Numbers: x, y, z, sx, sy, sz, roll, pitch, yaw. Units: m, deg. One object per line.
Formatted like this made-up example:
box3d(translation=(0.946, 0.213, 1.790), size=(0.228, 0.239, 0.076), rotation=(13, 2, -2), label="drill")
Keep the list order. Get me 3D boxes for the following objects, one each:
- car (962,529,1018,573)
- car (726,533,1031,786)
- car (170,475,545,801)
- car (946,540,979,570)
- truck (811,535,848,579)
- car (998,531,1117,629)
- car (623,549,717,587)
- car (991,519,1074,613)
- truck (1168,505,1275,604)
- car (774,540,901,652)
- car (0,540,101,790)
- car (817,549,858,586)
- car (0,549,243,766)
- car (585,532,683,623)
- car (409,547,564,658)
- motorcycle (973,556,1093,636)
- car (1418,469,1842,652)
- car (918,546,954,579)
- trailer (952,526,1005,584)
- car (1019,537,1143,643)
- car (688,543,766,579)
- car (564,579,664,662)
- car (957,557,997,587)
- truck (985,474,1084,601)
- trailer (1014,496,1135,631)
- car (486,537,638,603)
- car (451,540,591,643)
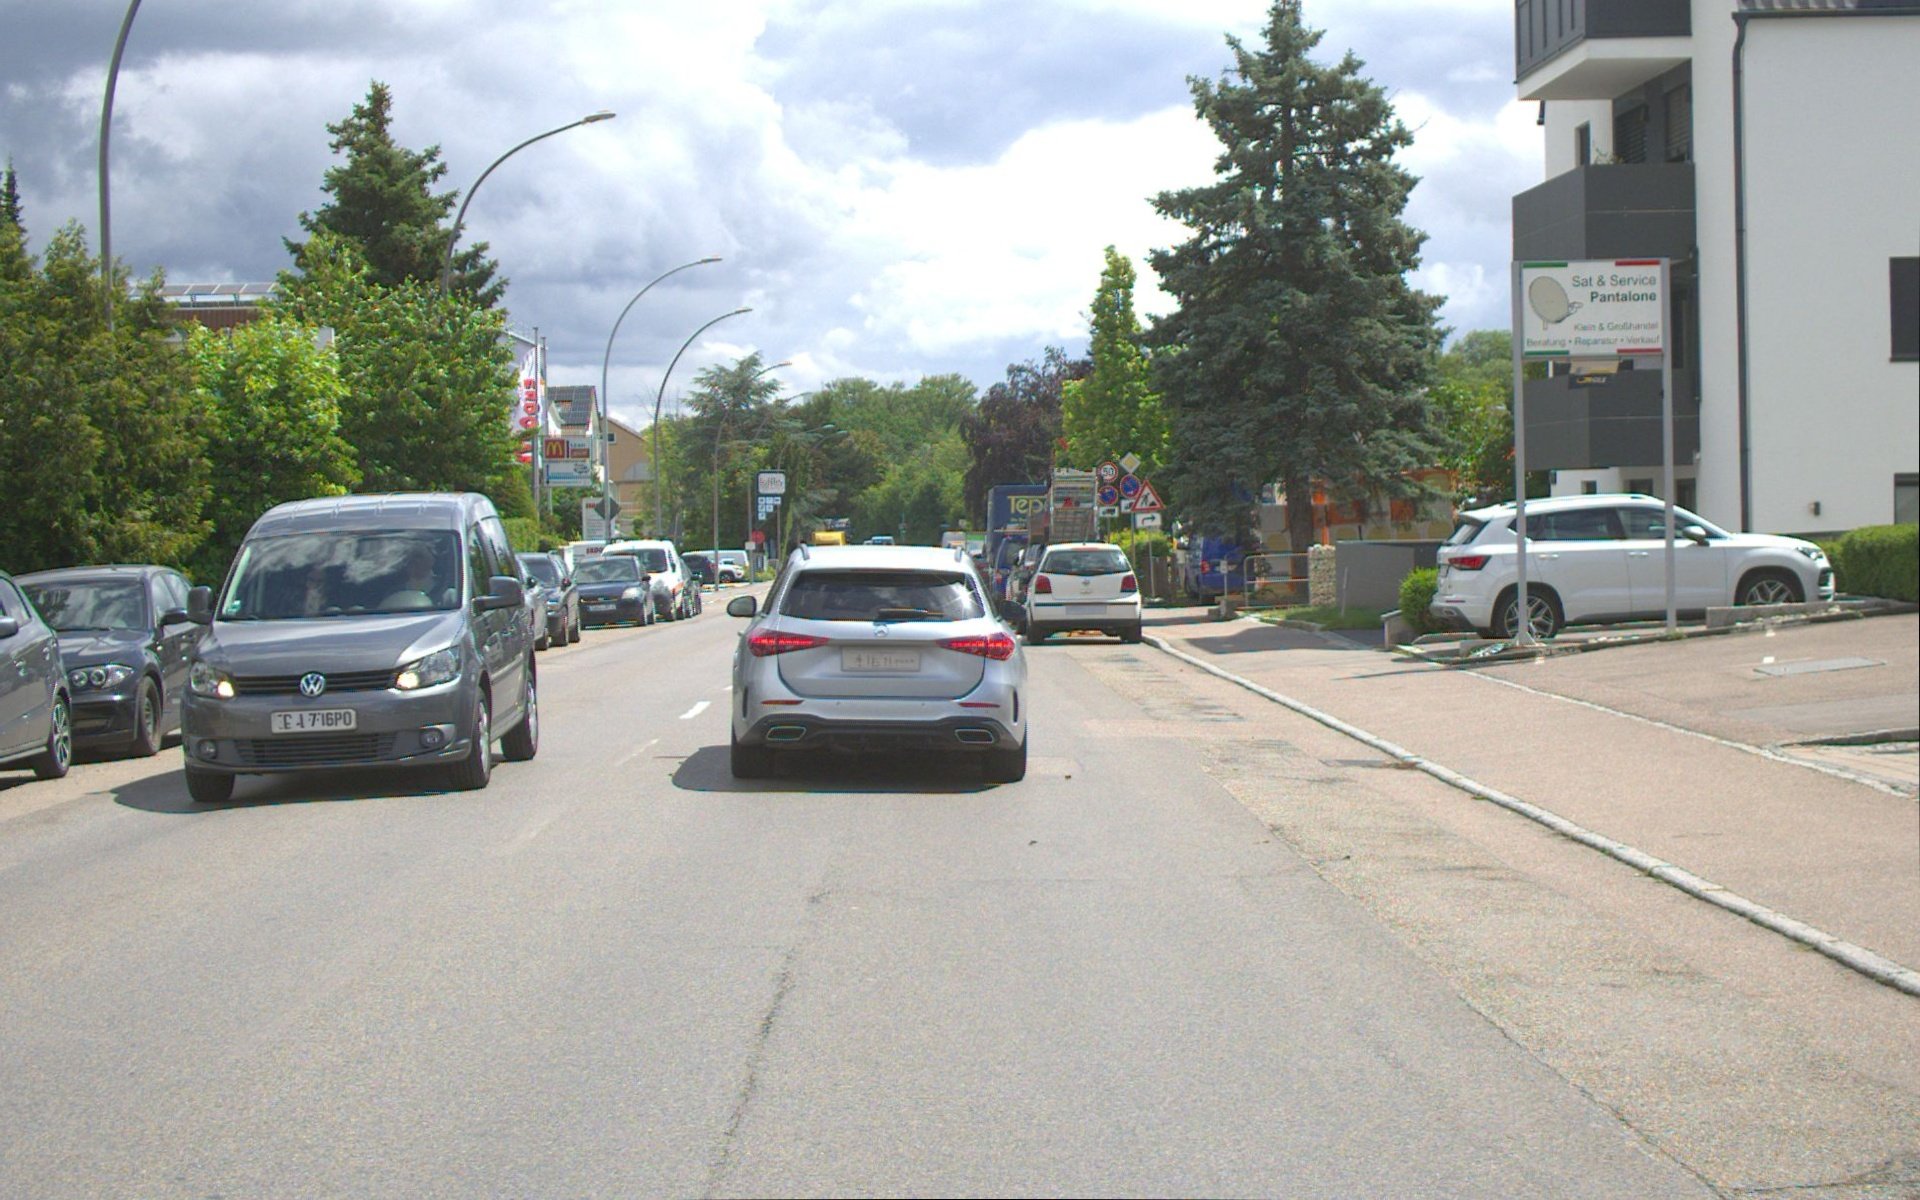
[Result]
box3d(translation=(1.132, -1.843, 128.261), size=(1.941, 1.566, 4.445), rotation=(-1, 1, 2), label="car")
box3d(translation=(-0.561, 0.314, 22.325), size=(1.784, 1.479, 4.317), rotation=(0, 1, -2), label="car")
box3d(translation=(-3.677, 0.171, 21.675), size=(1.662, 1.789, 4.339), rotation=(-2, 1, -2), label="car")
box3d(translation=(0.178, -3.046, 234.176), size=(2.144, 1.977, 5.261), rotation=(-1, 1, 0), label="car")
box3d(translation=(-8.796, -2.933, 232.560), size=(2.075, 2.804, 7.078), rotation=(-2, 1, 1), label="truck")
box3d(translation=(1.794, -0.407, 64.647), size=(1.873, 1.721, 4.713), rotation=(-2, 1, -2), label="car")
box3d(translation=(-14.853, -1.656, 176.217), size=(4.626, 1.627, 2.198), rotation=(-4, 1, -3), label="car")
box3d(translation=(1.709, -0.828, 82.392), size=(1.873, 2.161, 4.464), rotation=(1, 1, 0), label="car")
box3d(translation=(6.091, -1.106, 80.684), size=(1.829, 2.074, 5.386), rotation=(-4, 2, -1), label="truck")
box3d(translation=(-1.794, -0.088, 50.189), size=(1.755, 1.553, 4.001), rotation=(-1, 1, -2), label="car")
box3d(translation=(-6.706, 0.440, 21.438), size=(1.662, 1.506, 3.945), rotation=(-4, 1, -1), label="car")
box3d(translation=(-5.435, -1.454, 153.062), size=(1.743, 1.622, 4.356), rotation=(0, 1, -1), label="car")
box3d(translation=(-6.700, 0.387, 25.927), size=(1.662, 1.430, 4.339), rotation=(-3, 1, -1), label="car")
box3d(translation=(-7.129, -0.527, 75.604), size=(1.743, 1.832, 4.356), rotation=(-4, 1, -2), label="car")
box3d(translation=(-6.694, 0.000, 48.973), size=(1.719, 1.427, 4.200), rotation=(-3, 1, -2), label="car")
box3d(translation=(1.170, -0.073, 54.898), size=(1.817, 1.205, 0.717), rotation=(-2, 1, -35), label="motorcycle")
box3d(translation=(7.336, -0.443, 37.926), size=(4.192, 1.648, 1.867), rotation=(-4, 1, -1), label="car")
box3d(translation=(-1.203, -1.872, 170.418), size=(1.755, 1.553, 4.000), rotation=(-1, 1, -1), label="car")
box3d(translation=(0.737, -1.823, 139.413), size=(1.941, 2.286, 4.446), rotation=(-1, 1, -2), label="trailer")
box3d(translation=(1.803, -0.182, 51.497), size=(1.719, 1.427, 3.983), rotation=(-3, 1, 2), label="car")
box3d(translation=(-13.075, -2.195, 193.271), size=(4.279, 1.830, 1.991), rotation=(-1, -2, -1), label="car")
box3d(translation=(-7.014, 0.396, 69.942), size=(1.639, 1.482, 4.000), rotation=(-4, 1, -2), label="car")
box3d(translation=(0.855, -1.424, 175.610), size=(1.791, 1.445, 4.364), rotation=(-2, 1, -3), label="car")
box3d(translation=(1.860, -1.590, 87.842), size=(2.320, 3.086, 6.043), rotation=(1, 1, 0), label="truck")
box3d(translation=(1.886, -0.629, 57.612), size=(1.772, 2.137, 4.114), rotation=(-1, 1, -1), label="trailer")
box3d(translation=(-12.555, -0.958, 108.658), size=(4.650, 1.965, 2.116), rotation=(-1, 1, -3), label="car")
box3d(translation=(-6.865, -0.168, 54.099), size=(1.719, 1.488, 4.736), rotation=(-2, 1, -2), label="car")
